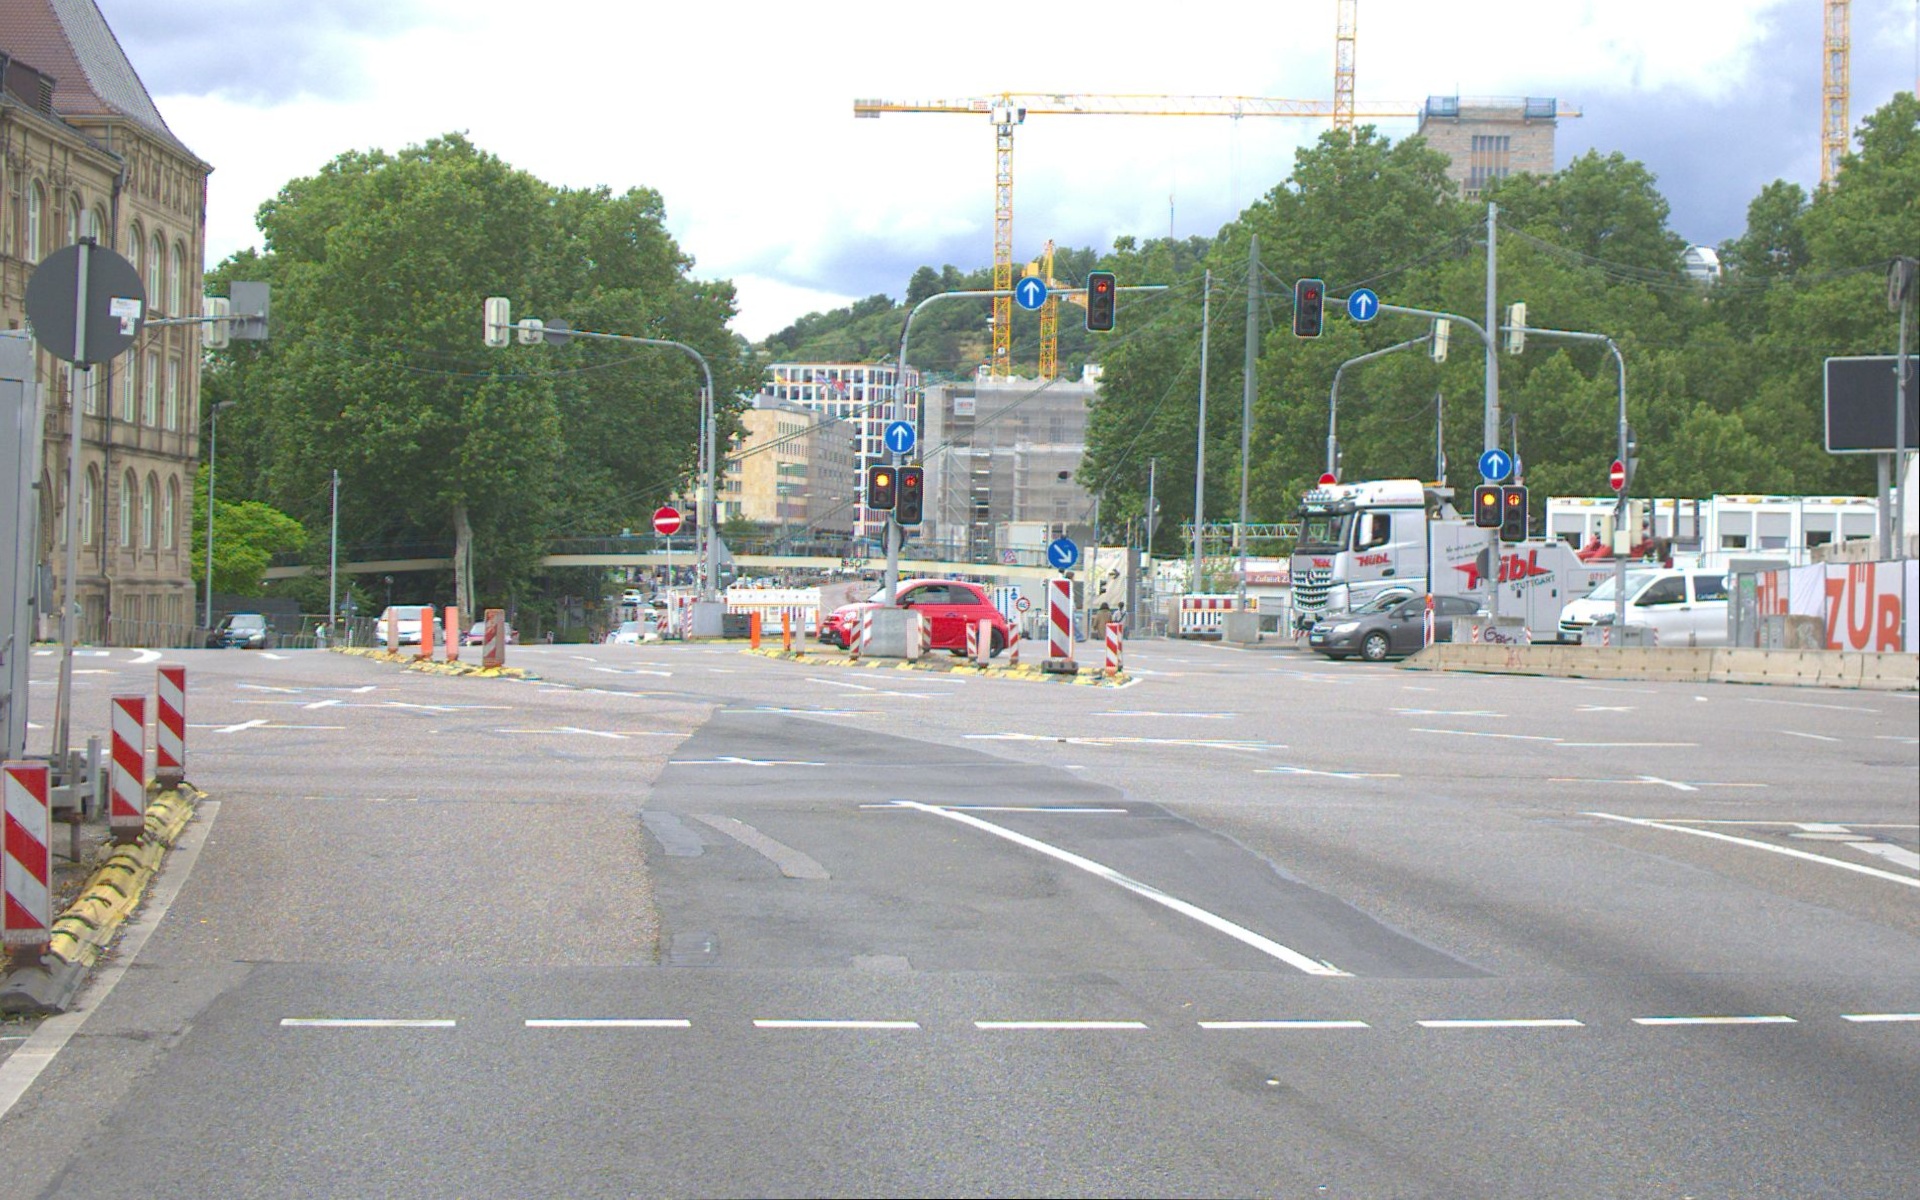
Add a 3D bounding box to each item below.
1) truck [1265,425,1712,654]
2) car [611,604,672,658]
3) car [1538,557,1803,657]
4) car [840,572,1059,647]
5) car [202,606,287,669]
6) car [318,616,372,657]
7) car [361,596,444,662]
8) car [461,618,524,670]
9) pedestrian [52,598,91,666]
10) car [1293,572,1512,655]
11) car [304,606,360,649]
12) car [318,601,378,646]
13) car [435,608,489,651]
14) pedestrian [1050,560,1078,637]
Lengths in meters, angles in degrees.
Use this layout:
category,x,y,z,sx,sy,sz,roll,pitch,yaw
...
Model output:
category,x,y,z,sx,sy,sz,roll,pitch,yaw
truck,11.995,-1.302,77.920,9.712,4.943,3.114,1,0,-22
car,-11.285,1.084,122.003,1.993,1.831,4.001,1,1,-3
car,14.877,0.148,72.002,5.129,2.007,2.078,1,1,-23
car,-0.207,0.180,66.437,3.806,1.381,1.805,1,1,-22
car,-22.271,1.149,107.153,1.993,1.831,4.001,1,1,-3
car,-29.056,1.698,162.574,1.993,1.831,4.001,1,1,-3
car,-16.398,0.836,101.296,1.993,1.831,4.001,1,1,-3
car,-17.638,1.649,129.799,1.993,1.831,4.001,1,1,-3
pedestrian,-26.604,0.952,102.943,0.950,2.007,0.766,1,0,2
car,9.411,0.288,73.203,4.164,1.695,1.967,1,1,-19
car,-28.434,1.227,155.756,1.993,1.831,4.001,1,1,-3
car,-25.783,0.980,144.831,1.993,1.831,4.001,1,1,-3
car,-22.390,1.333,154.684,1.993,1.831,4.001,1,1,-3
pedestrian,2.492,-0.038,82.348,0.585,1.834,0.604,1,0,-4
